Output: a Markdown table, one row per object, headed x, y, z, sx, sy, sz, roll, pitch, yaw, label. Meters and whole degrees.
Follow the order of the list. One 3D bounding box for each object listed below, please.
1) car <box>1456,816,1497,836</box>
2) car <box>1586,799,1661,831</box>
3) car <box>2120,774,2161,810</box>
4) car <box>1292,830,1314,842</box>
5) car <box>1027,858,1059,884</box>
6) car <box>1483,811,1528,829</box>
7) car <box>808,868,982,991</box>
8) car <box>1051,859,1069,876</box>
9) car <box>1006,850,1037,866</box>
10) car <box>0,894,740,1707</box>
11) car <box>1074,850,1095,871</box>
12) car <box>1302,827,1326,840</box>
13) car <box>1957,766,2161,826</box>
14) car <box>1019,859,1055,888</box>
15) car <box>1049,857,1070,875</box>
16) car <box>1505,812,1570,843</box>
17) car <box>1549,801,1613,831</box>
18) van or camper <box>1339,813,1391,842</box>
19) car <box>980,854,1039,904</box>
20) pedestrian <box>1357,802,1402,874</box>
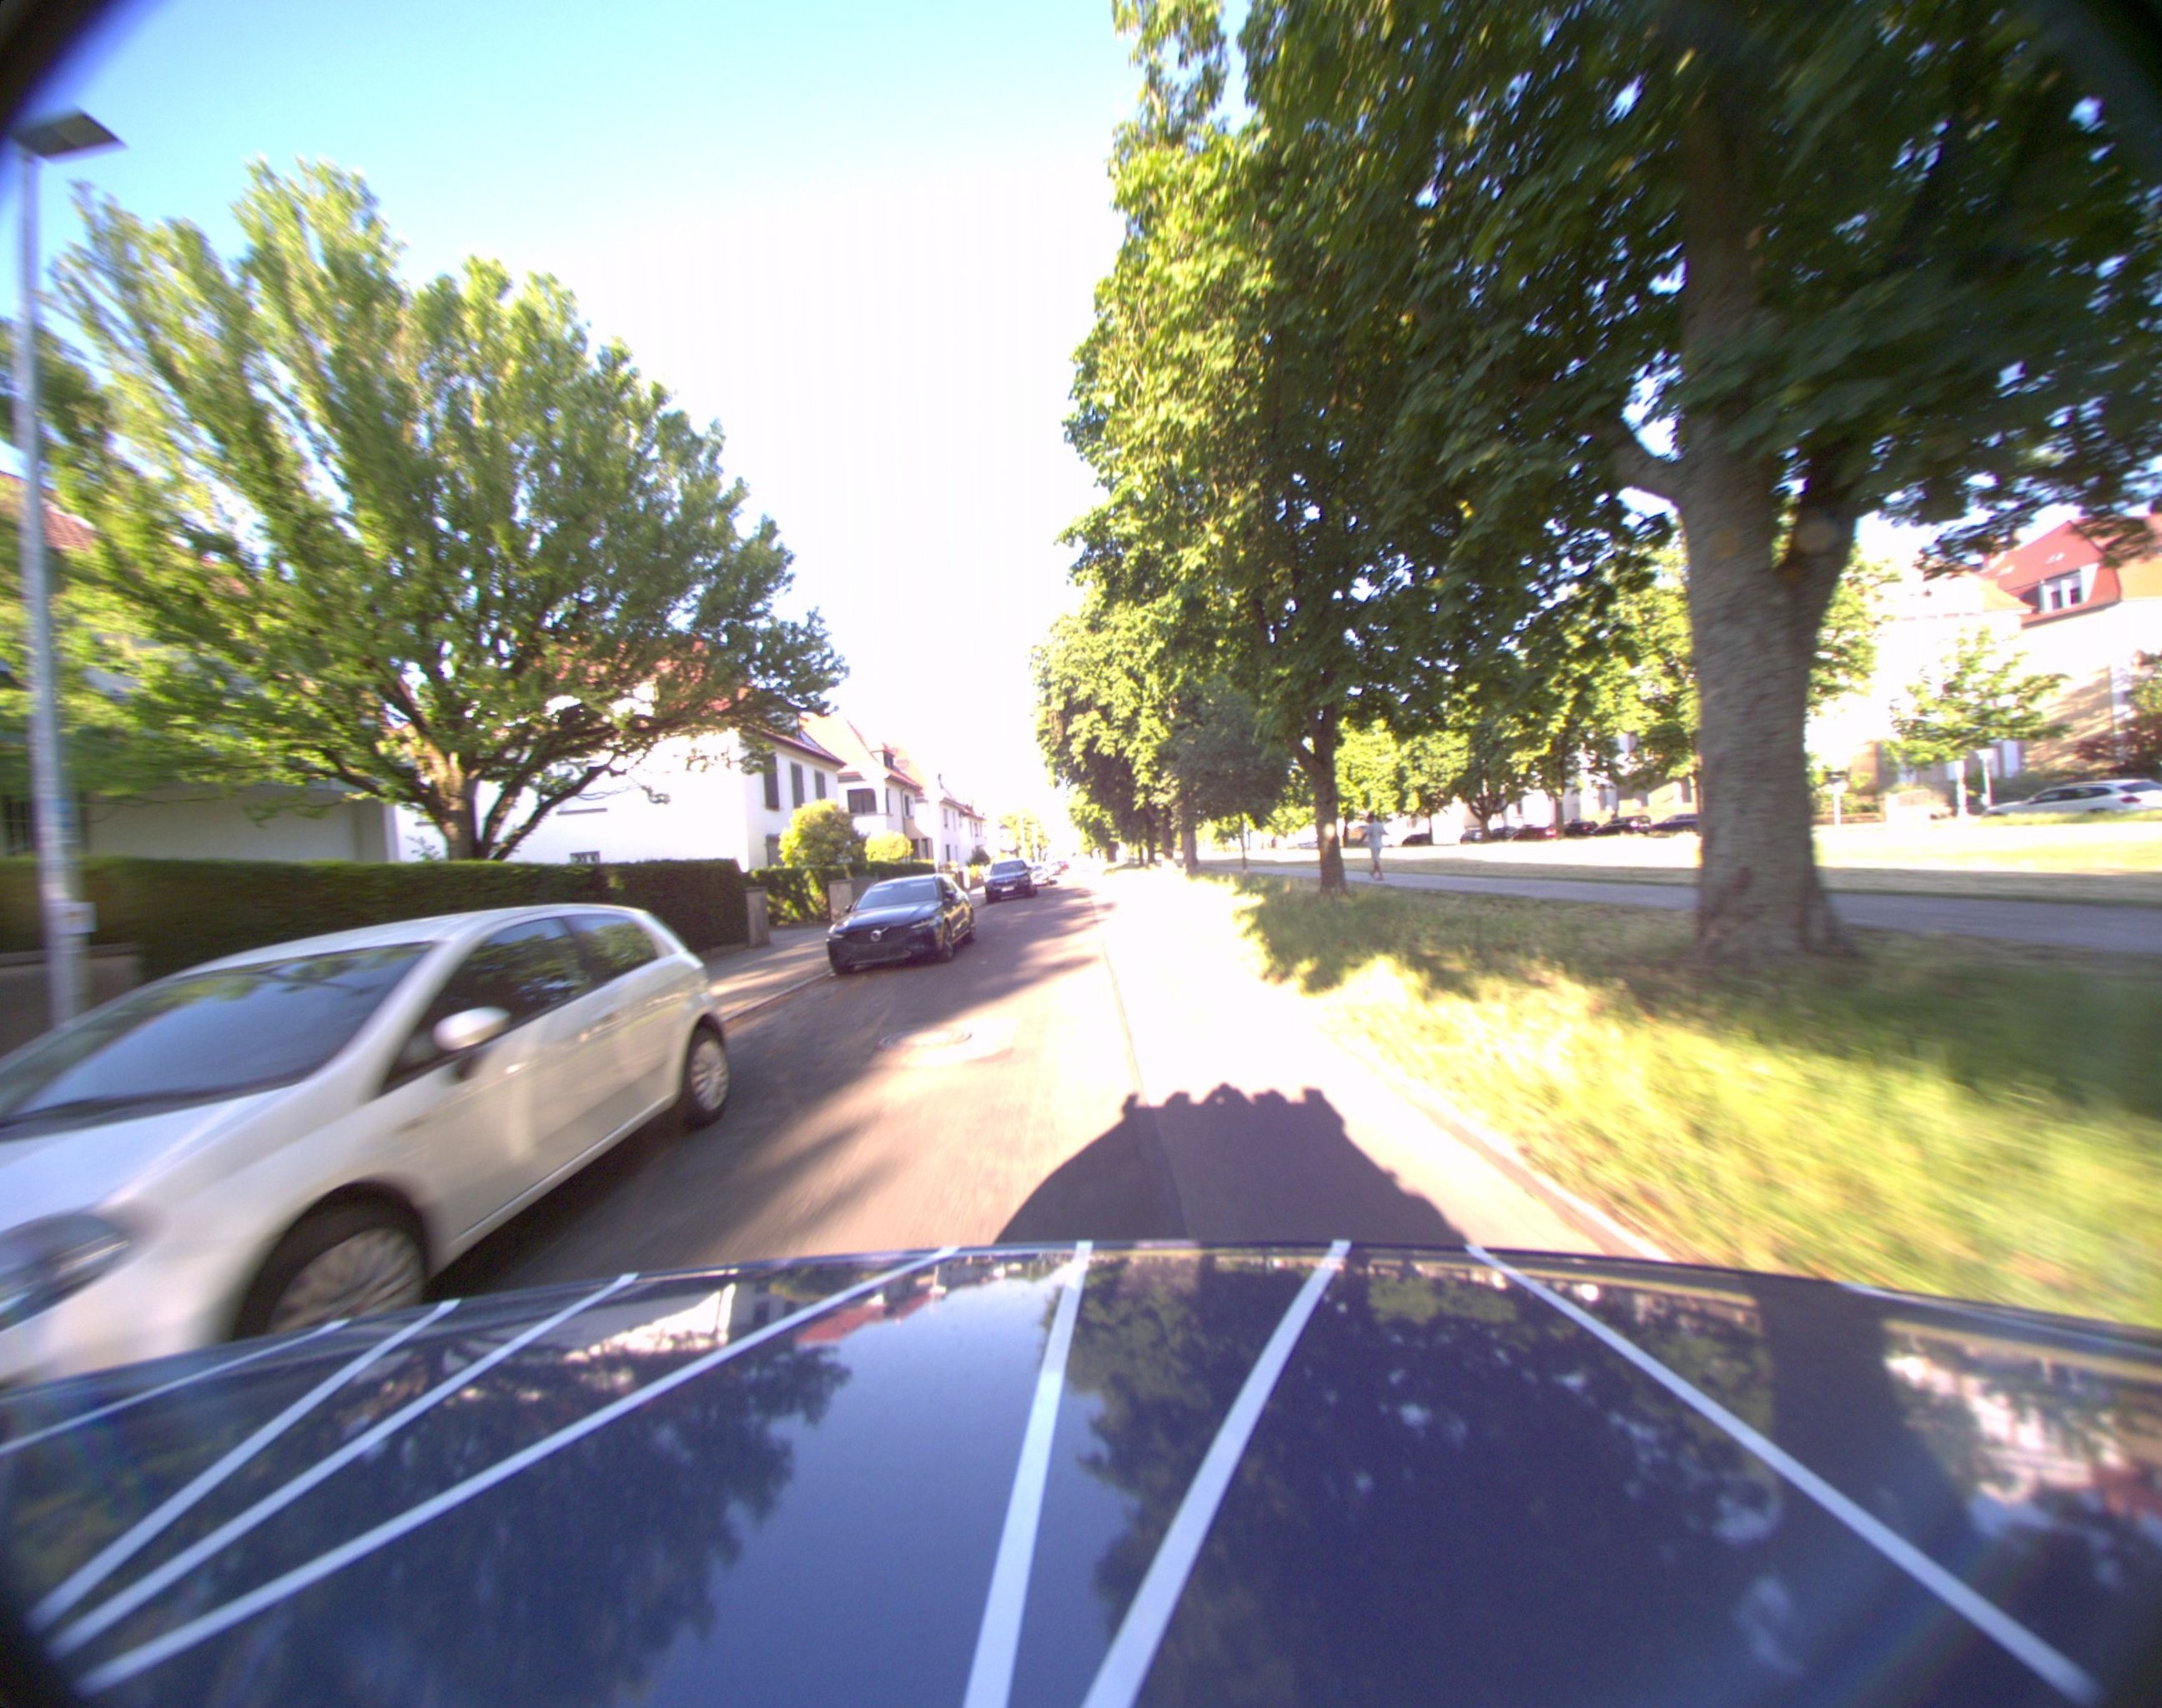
| x | y | z | sx | sy | sz | roll | pitch | yaw | label |
| --- | --- | --- | --- | --- | --- | --- | --- | --- | --- |
| 40.086 | -2.816 | 77.097 | 1.998 | 1.724 | 4.000 | -5 | 0 | 2 | car |
| 39.809 | -2.836 | 55.921 | 1.998 | 2.002 | 4.876 | -5 | 0 | 2 | car |
| 53.660 | -3.193 | 36.297 | 4.866 | 1.598 | 2.189 | -5 | 0 | 1 | car |
| 34.490 | -2.730 | 118.253 | 1.998 | 1.680 | 4.875 | -5 | 0 | 1 | car |
| -2.715 | 1.156 | 54.492 | 1.999 | 1.455 | 4.549 | -8 | 1 | -2 | car |
| 40.410 | -3.201 | 72.399 | 1.998 | 1.421 | 4.169 | -5 | 0 | 2 | car |
| -3.022 | 1.147 | 13.434 | 1.798 | 1.483 | 4.673 | -5 | 1 | 0 | car |
| -2.514 | 1.591 | 91.687 | 1.863 | 1.710 | 4.467 | -10 | 0 | -1 | car |
| -8.026 | 0.546 | 102.499 | 3.998 | 1.917 | 1.999 | -5 | 0 | -3 | car |
| -3.133 | 1.123 | 3.113 | 1.696 | 1.474 | 3.927 | -9 | 1 | -4 | car |
| 0.409 | 0.643 | 81.882 | 1.998 | 2.002 | 3.999 | -5 | 1 | 0 | car |
| 34.524 | -2.985 | 112.750 | 1.998 | 1.680 | 4.875 | -5 | 0 | 1 | car |
| 34.072 | -1.945 | 26.404 | 1.824 | 1.630 | 4.650 | -5 | 0 | 0 | car |
| -2.669 | 1.175 | 47.151 | 1.784 | 1.454 | 4.593 | -8 | 0 | 0 | car |
| -2.036 | 1.119 | 73.079 | 1.784 | 1.490 | 4.397 | -7 | 0 | -1 | car |
| 34.297 | -1.950 | 57.257 | 1.998 | 2.002 | 4.876 | -5 | 0 | 2 | car |
| 39.940 | -2.987 | 60.788 | 1.999 | 2.002 | 4.428 | -5 | 0 | -1 | car |
| 34.635 | -3.186 | 92.893 | 3.262 | 3.092 | 7.896 | -5 | 0 | 1 | van or camper |
| -3.054 | 1.032 | 33.342 | 1.999 | 1.727 | 4.862 | -8 | 1 | -1 | car |
| 7.661 | -0.409 | 19.555 | 0.726 | 1.747 | 0.993 | -5 | 0 | 7 | pedestrian |
